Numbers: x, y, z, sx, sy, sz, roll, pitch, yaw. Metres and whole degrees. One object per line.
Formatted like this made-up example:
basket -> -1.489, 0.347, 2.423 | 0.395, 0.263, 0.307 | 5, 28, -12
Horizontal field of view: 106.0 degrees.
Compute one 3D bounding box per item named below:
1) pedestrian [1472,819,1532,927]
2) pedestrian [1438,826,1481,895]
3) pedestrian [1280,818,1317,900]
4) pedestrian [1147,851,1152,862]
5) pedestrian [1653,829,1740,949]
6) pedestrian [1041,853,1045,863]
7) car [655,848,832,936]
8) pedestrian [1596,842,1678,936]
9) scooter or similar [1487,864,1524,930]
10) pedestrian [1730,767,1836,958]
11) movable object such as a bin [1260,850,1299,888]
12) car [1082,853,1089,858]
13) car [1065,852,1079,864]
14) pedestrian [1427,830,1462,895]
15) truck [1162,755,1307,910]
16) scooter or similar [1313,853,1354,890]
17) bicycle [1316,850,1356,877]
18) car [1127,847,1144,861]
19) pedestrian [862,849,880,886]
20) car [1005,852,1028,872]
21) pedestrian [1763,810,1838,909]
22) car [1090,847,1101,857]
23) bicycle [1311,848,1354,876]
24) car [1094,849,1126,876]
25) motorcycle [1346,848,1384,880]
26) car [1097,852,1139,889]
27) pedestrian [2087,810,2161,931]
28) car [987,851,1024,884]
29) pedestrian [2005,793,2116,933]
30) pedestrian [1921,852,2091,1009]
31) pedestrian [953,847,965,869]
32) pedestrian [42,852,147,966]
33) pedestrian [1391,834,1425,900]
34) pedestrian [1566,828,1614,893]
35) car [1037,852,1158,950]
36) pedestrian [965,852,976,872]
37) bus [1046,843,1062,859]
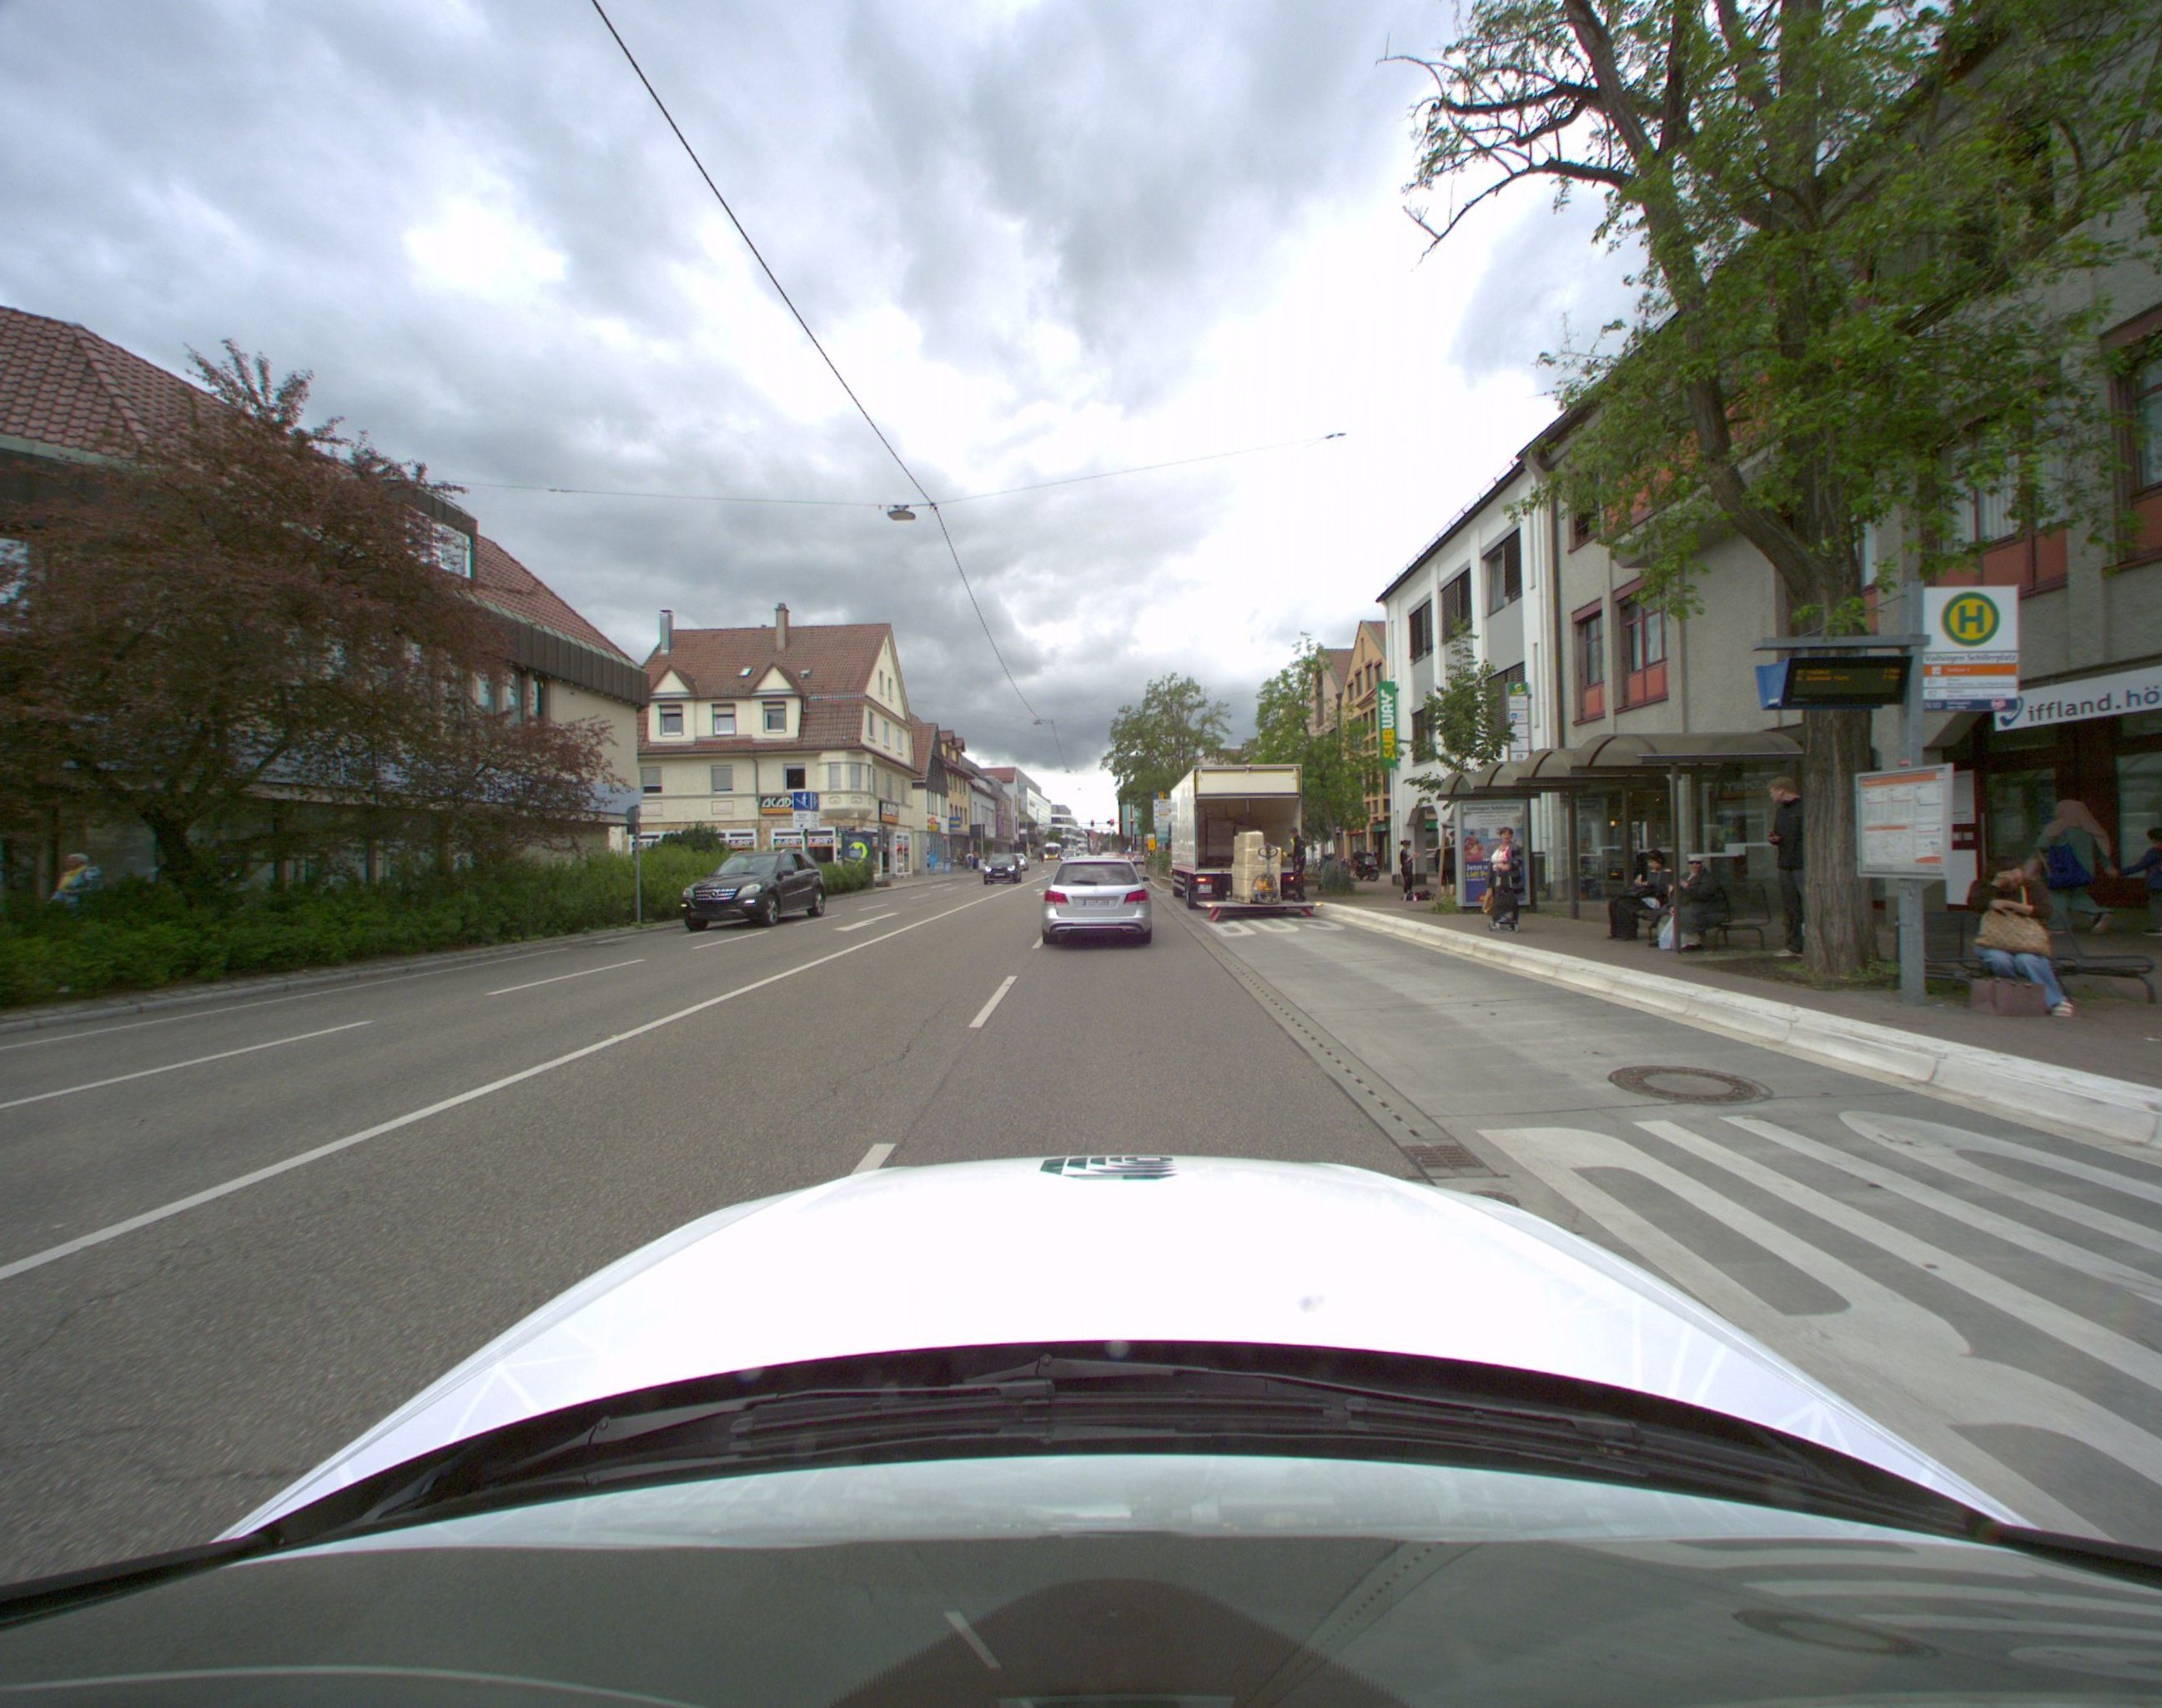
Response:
pedestrian -> 6.504, 0.287, 12.602 | 0.537, 1.634, 0.583 | 2, 0, -23
pedestrian -> 10.132, 0.181, 21.826 | 0.615, 1.819, 0.761 | -1, -1, -22
pedestrian -> 4.856, 0.117, 18.216 | 0.611, 1.780, 0.587 | -2, -1, -2
pedestrian -> 10.494, 0.327, 124.914 | 0.612, 1.634, 0.586 | 2, 0, -7
pedestrian -> 7.522, 0.422, 9.982 | 0.608, 1.401, 0.590 | -3, -1, 15
pedestrian -> -5.902, 0.629, 125.882 | 0.611, 1.634, 0.588 | 2, 0, 0
car -> -7.832, 0.786, 19.503 | 2.061, 1.738, 4.694 | -3, 0, 2
pedestrian -> 7.687, 0.478, 11.285 | 0.695, 1.232, 0.590 | -3, -1, 11
scooter or similar -> 6.382, 0.639, 12.248 | 0.387, 0.959, 0.351 | -2, 0, -39
pedestrian -> 7.831, 0.097, 9.110 | 0.608, 2.047, 0.590 | -3, -1, 15
movable object such as a bin -> 7.322, 0.528, 30.145 | 1.138, 1.339, 1.377 | -2, 0, 4
car -> 1.212, 0.491, 219.241 | 1.568, 1.244, 3.609 | -1, 0, 2
car -> -1.138, 0.513, 109.572 | 1.610, 1.428, 3.925 | -2, 0, 3
pedestrian -> 9.284, 0.219, 20.808 | 0.618, 1.611, 0.581 | -1, -2, -43
truck -> 4.072, -0.519, 23.935 | 2.678, 3.561, 9.771 | -1, 0, 2
scooter or similar -> 8.348, 0.567, 26.935 | 1.175, 1.196, 0.459 | -2, 0, -8
bicycle -> 12.167, 0.436, 38.922 | 1.670, 1.259, 0.669 | -1, 0, -2
car -> 6.853, 0.003, 102.486 | 1.986, 1.684, 4.002 | -1, 0, 2
pedestrian -> -10.442, 0.674, 40.533 | 0.631, 1.824, 0.681 | -2, 0, 1
car -> -5.660, 0.721, 71.701 | 1.634, 1.568, 3.926 | -3, -1, 0
pedestrian -> 12.175, 0.089, 13.790 | 0.725, 1.634, 0.613 | -1, 0, -7
car -> 2.898, -0.440, 163.977 | 1.986, 2.013, 4.002 | -1, 0, 2
bicycle -> 12.288, 0.396, 39.815 | 1.811, 1.326, 0.843 | -1, 0, -2
car -> 1.925, 0.538, 53.608 | 1.986, 1.684, 4.002 | -1, 0, 2
motorcycle -> 11.592, 0.395, 33.351 | 0.735, 1.270, 2.106 | -2, 0, -2
car -> 1.656, 0.716, 36.949 | 1.748, 1.521, 4.002 | -2, 0, 2
pedestrian -> 12.471, 0.185, 9.546 | 0.583, 1.375, 0.615 | -1, 0, 4
car -> -3.783, 0.658, 41.117 | 1.565, 1.540, 2.960 | -2, 0, 0
pedestrian -> 11.876, 0.108, 9.891 | 0.583, 1.634, 0.615 | -1, 0, 3
pedestrian -> 7.275, 0.575, 6.429 | 0.710, 1.166, 0.587 | -1, 1, -5
pedestrian -> -10.207, 0.336, 68.379 | 0.865, 1.746, 0.805 | 2, 0, -3
pedestrian -> -16.089, 0.874, 13.299 | 0.722, 1.764, 0.757 | 3, 0, 6
pedestrian -> 8.776, 0.339, 21.849 | 0.611, 1.740, 0.587 | 2, 0, -2
pedestrian -> 12.141, 0.148, 19.428 | 0.724, 1.526, 0.614 | -1, 0, -5
car -> 0.262, 0.732, 14.647 | 1.868, 1.506, 4.000 | -1, 0, 0
pedestrian -> -9.141, 0.641, 67.318 | 0.815, 1.634, 0.979 | 1, 0, -4
bus -> -5.462, -0.579, 165.175 | 2.764, 3.165, 5.936 | -1, 0, 2
